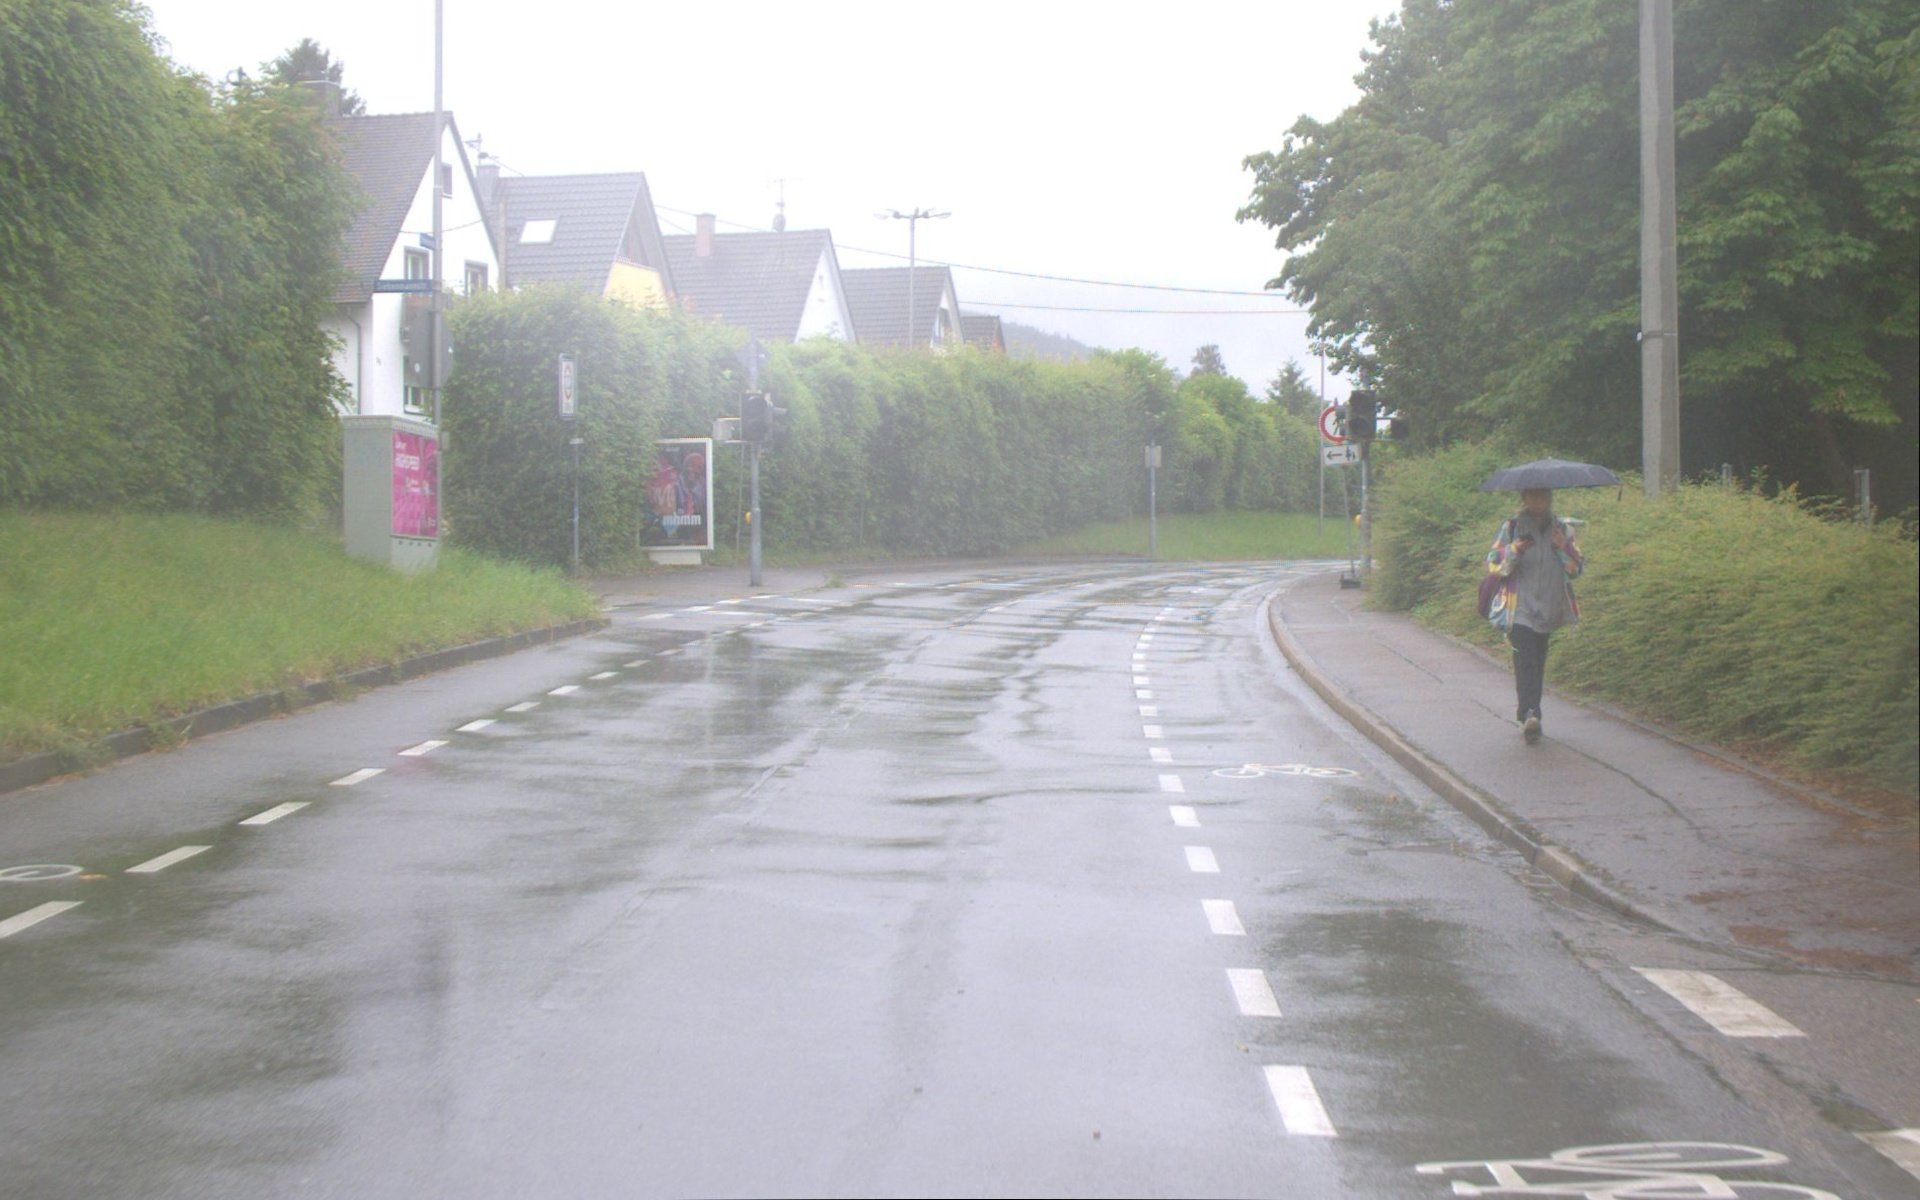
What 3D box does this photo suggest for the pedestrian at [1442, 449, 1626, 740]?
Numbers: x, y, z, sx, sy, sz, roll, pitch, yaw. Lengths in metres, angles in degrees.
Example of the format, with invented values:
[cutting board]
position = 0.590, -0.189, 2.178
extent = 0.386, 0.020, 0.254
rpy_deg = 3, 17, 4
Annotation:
[pedestrian]
position = 3.410, -0.046, 20.494
extent = 0.920, 1.669, 1.057
rpy_deg = -1, 1, 2
